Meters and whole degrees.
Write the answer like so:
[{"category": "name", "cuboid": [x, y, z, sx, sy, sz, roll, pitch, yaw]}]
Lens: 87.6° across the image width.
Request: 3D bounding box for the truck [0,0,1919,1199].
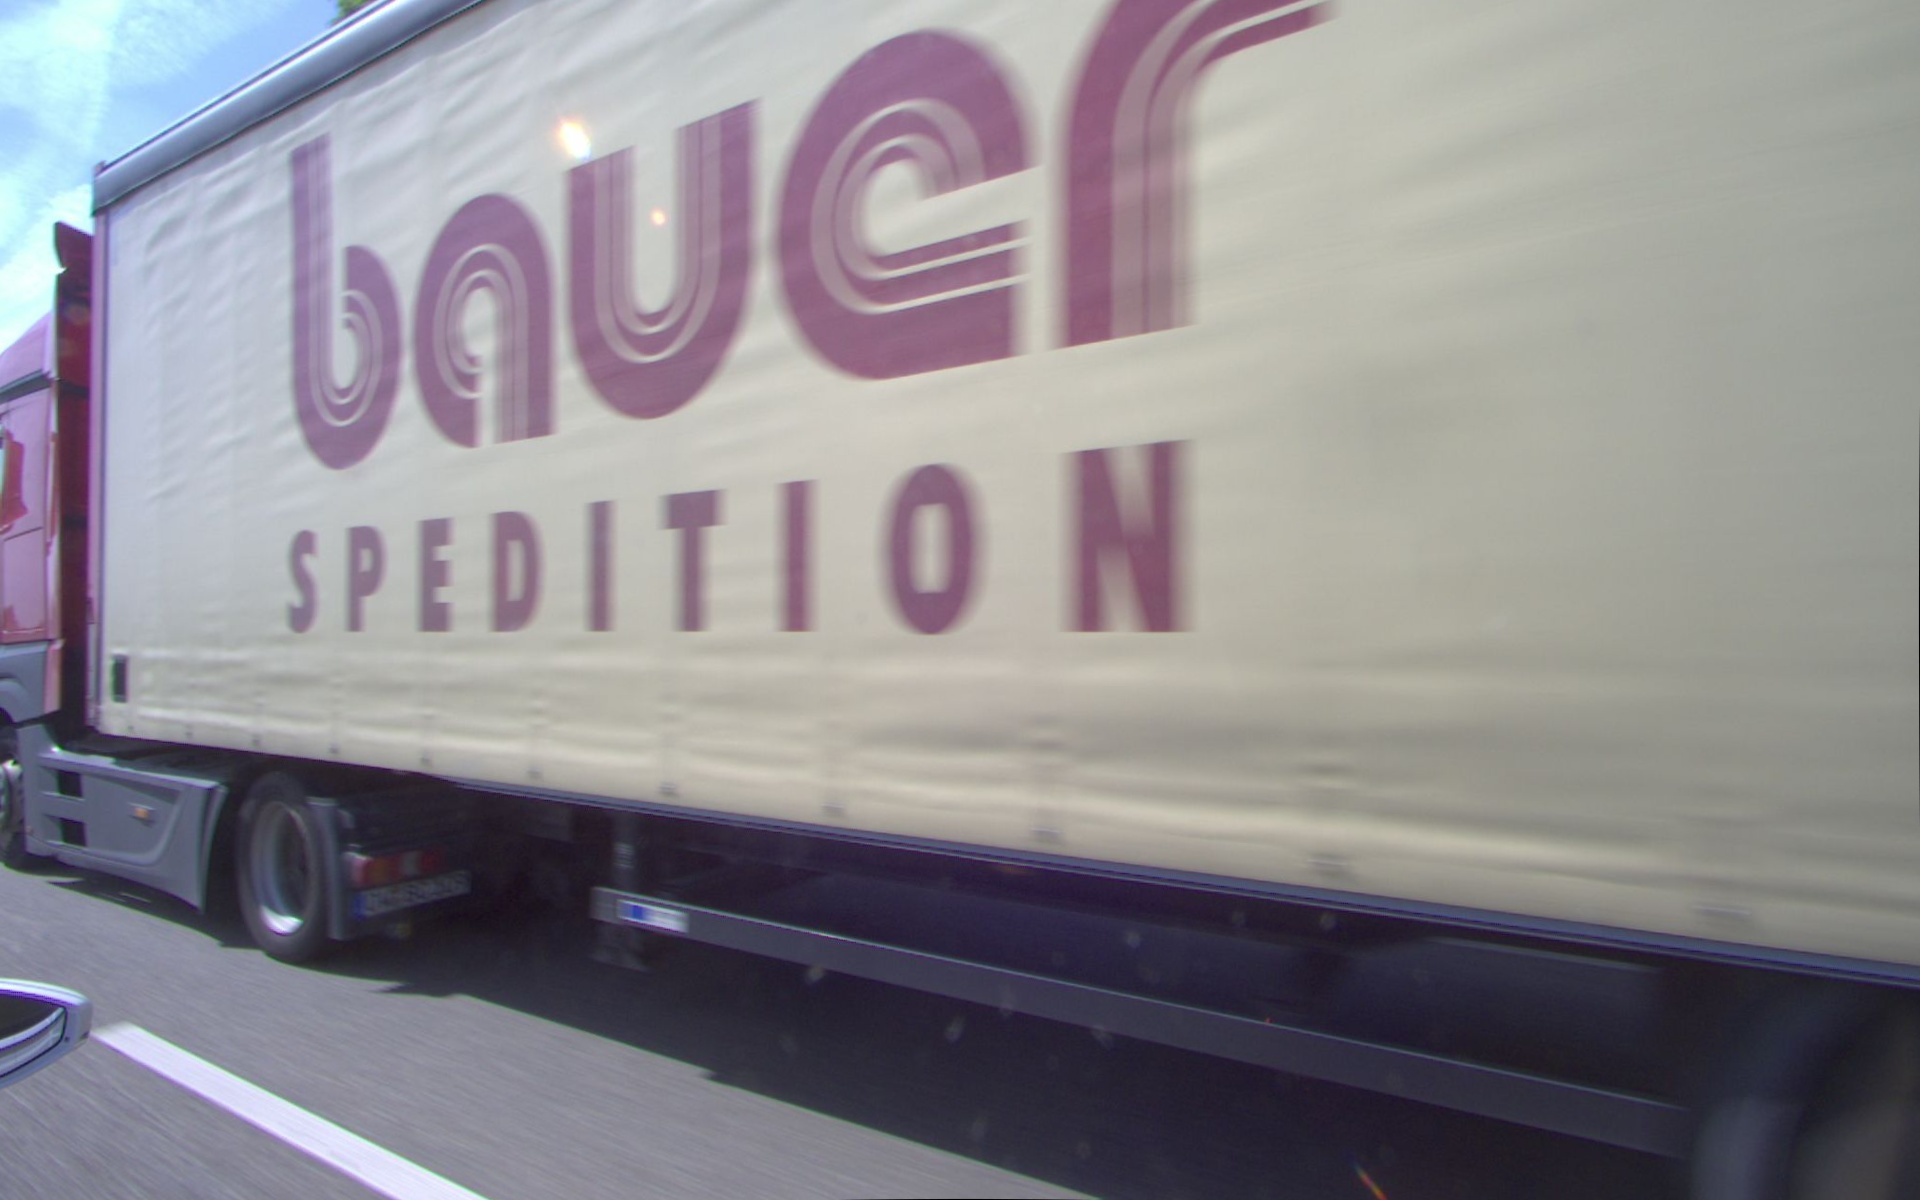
[{"category": "truck", "cuboid": [0.601, -0.540, 3.783, 16.473, 4.233, 3.002, -1, -2, 32]}]
